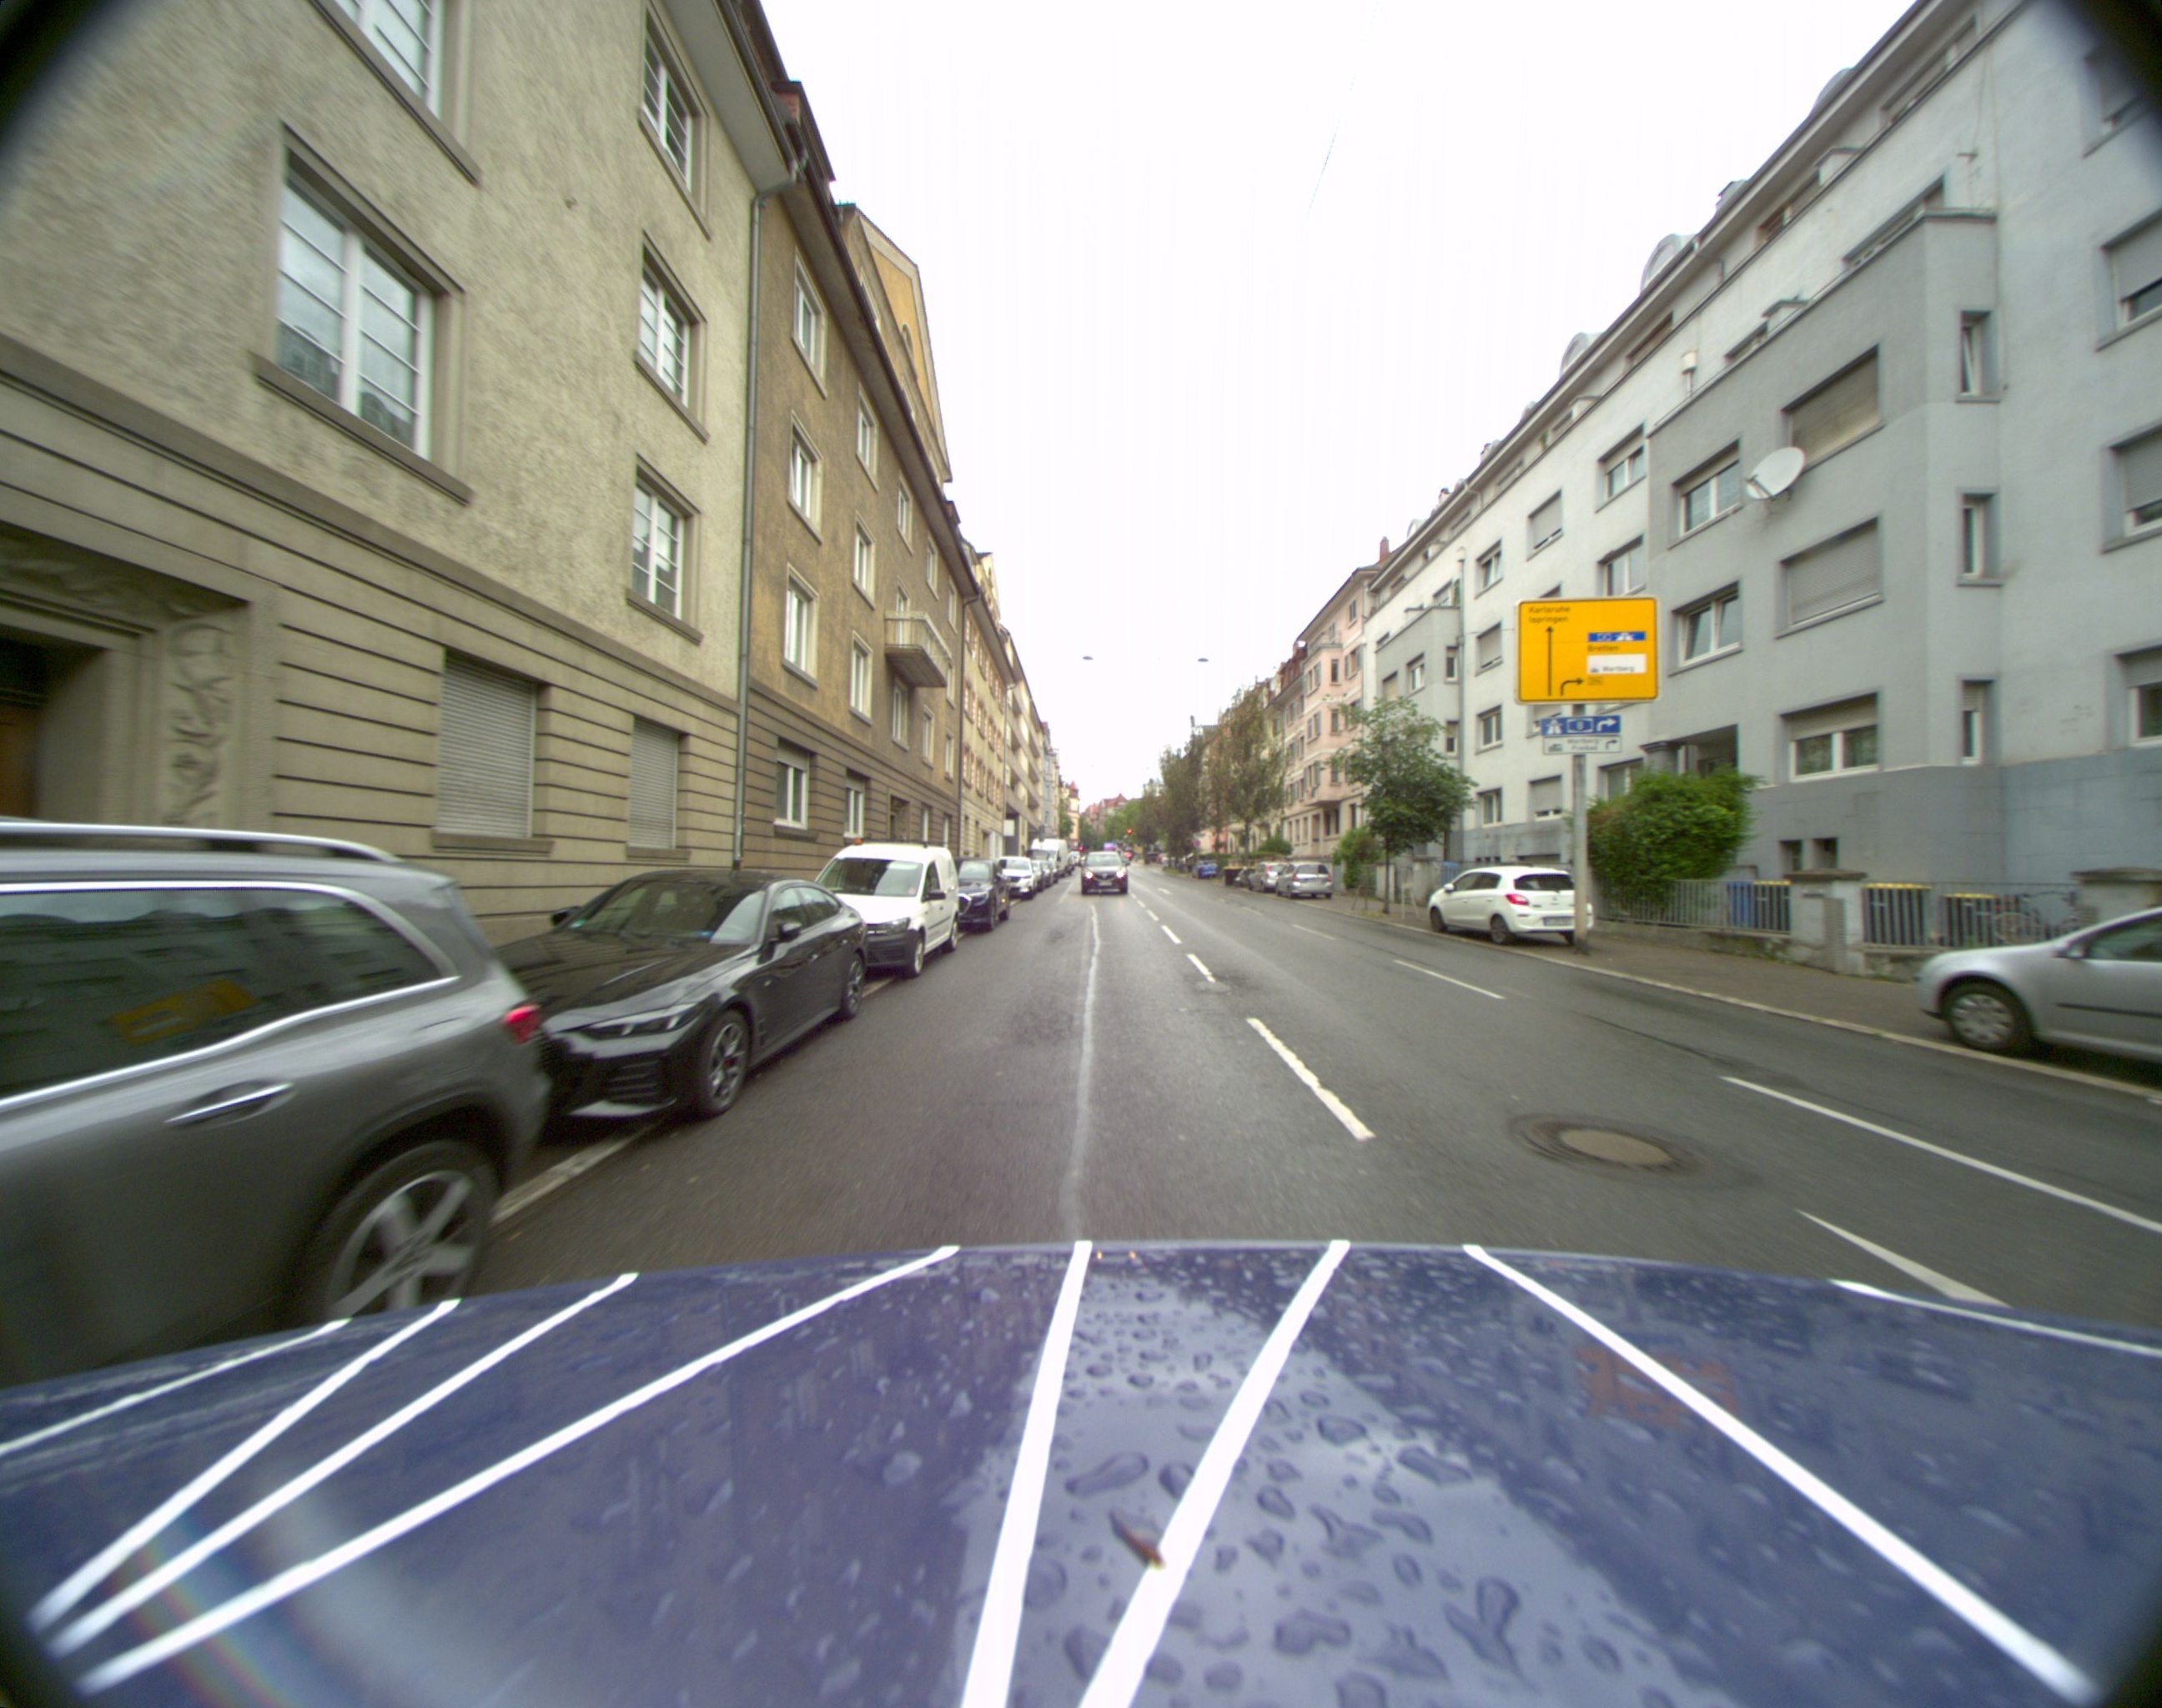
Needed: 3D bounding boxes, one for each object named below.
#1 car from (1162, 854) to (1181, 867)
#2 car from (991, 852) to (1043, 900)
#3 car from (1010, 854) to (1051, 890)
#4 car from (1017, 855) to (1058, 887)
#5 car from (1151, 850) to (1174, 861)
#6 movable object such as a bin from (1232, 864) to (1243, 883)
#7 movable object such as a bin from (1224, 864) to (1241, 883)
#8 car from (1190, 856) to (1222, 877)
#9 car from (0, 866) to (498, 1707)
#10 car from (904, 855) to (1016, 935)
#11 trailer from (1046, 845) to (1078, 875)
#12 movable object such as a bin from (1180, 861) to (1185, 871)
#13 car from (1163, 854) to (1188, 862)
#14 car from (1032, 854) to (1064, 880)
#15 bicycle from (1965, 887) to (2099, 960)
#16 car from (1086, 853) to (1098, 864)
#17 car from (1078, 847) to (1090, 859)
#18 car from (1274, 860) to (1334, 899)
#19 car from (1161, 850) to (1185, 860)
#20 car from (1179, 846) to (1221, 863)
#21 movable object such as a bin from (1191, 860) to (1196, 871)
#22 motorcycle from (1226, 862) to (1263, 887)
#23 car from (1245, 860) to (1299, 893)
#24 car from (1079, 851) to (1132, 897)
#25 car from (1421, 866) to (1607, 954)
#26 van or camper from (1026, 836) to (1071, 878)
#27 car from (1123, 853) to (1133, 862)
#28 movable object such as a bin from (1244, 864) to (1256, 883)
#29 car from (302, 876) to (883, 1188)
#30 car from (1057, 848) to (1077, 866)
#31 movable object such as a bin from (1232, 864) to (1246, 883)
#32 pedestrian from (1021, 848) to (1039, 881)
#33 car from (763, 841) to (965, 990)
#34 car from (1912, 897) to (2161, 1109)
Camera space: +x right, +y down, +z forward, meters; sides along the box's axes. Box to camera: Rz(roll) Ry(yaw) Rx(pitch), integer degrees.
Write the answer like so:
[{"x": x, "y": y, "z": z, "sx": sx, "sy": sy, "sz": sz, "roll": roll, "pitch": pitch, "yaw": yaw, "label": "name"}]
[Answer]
[{"x": 10.187, "y": 0.692, "z": 85.663, "sx": 1.685, "sy": 1.409, "sz": 4.137, "roll": 1, "pitch": 1, "yaw": 1, "label": "car"}, {"x": -2.434, "y": 0.796, "z": 29.687, "sx": 1.636, "sy": 1.629, "sz": 4.194, "roll": 3, "pitch": 1, "yaw": -1, "label": "car"}, {"x": -2.309, "y": 0.803, "z": 35.395, "sx": 1.636, "sy": 1.470, "sz": 3.734, "roll": 3, "pitch": 1, "yaw": -1, "label": "car"}, {"x": -2.218, "y": 0.821, "z": 39.705, "sx": 1.782, "sy": 1.471, "sz": 4.587, "roll": 0, "pitch": 1, "yaw": 1, "label": "car"}, {"x": 14.550, "y": 0.282, "z": 135.561, "sx": 3.929, "sy": 1.836, "sz": 1.867, "roll": 1, "pitch": 1, "yaw": -1, "label": "car"}, {"x": 8.897, "y": 1.090, "z": 43.207, "sx": 0.472, "sy": 1.052, "sz": 0.483, "roll": -3, "pitch": 2, "yaw": -8, "label": "movable object such as a bin"}, {"x": 8.724, "y": 1.131, "z": 43.772, "sx": 0.827, "sy": 1.052, "sz": 0.483, "roll": -3, "pitch": 2, "yaw": 2, "label": "movable object such as a bin"}, {"x": 9.365, "y": 0.921, "z": 57.171, "sx": 1.683, "sy": 1.378, "sz": 4.602, "roll": 0, "pitch": 1, "yaw": 1, "label": "car"}, {"x": -3.026, "y": 0.893, "z": 0.635, "sx": 1.845, "sy": 1.611, "sz": 4.207, "roll": 1, "pitch": 1, "yaw": 0, "label": "car"}, {"x": -2.640, "y": 0.837, "z": 17.554, "sx": 1.795, "sy": 1.539, "sz": 4.226, "roll": 1, "pitch": 0, "yaw": 1, "label": "car"}, {"x": -1.472, "y": 0.469, "z": 59.939, "sx": 1.998, "sy": 2.139, "sz": 5.074, "roll": 2, "pitch": 0, "yaw": 4, "label": "trailer"}, {"x": 9.358, "y": 1.080, "z": 69.992, "sx": 0.365, "sy": 0.884, "sz": 0.572, "roll": -2, "pitch": 1, "yaw": 0, "label": "movable object such as a bin"}, {"x": 15.238, "y": 0.650, "z": 122.627, "sx": 3.928, "sy": 1.289, "sz": 1.646, "roll": 1, "pitch": 1, "yaw": 2, "label": "car"}, {"x": -1.965, "y": 0.738, "z": 45.416, "sx": 1.782, "sy": 1.470, "sz": 4.188, "roll": 1, "pitch": 0, "yaw": -2, "label": "car"}, {"x": 14.688, "y": 1.068, "z": 11.758, "sx": 1.424, "sy": 1.083, "sz": 0.484, "roll": 0, "pitch": 1, "yaw": 1, "label": "bicycle"}, {"x": 1.515, "y": 0.604, "z": 104.968, "sx": 1.669, "sy": 1.464, "sz": 3.652, "roll": -1, "pitch": 1, "yaw": 0, "label": "car"}, {"x": 0.452, "y": -0.201, "z": 122.778, "sx": 1.826, "sy": 1.808, "sz": 4.520, "roll": 1, "pitch": 1, "yaw": 1, "label": "car"}, {"x": 9.140, "y": 0.996, "z": 31.436, "sx": 1.604, "sy": 1.443, "sz": 3.889, "roll": -2, "pitch": 0, "yaw": 5, "label": "car"}, {"x": 15.986, "y": 0.175, "z": 132.412, "sx": 3.928, "sy": 1.613, "sz": 1.592, "roll": 1, "pitch": 1, "yaw": 2, "label": "car"}, {"x": 14.260, "y": 0.038, "z": 91.511, "sx": 4.731, "sy": 1.894, "sz": 1.918, "roll": -1, "pitch": 2, "yaw": -1, "label": "car"}, {"x": 10.332, "y": 1.057, "z": 69.970, "sx": 0.365, "sy": 0.906, "sz": 0.572, "roll": -2, "pitch": 2, "yaw": 0, "label": "movable object such as a bin"}, {"x": 8.812, "y": 1.102, "z": 40.923, "sx": 1.806, "sy": 1.307, "sz": 0.743, "roll": 1, "pitch": 1, "yaw": 42, "label": "motorcycle"}, {"x": 9.056, "y": 1.017, "z": 36.304, "sx": 1.605, "sy": 1.388, "sz": 3.886, "roll": 0, "pitch": 1, "yaw": 0, "label": "car"}, {"x": 0.916, "y": 0.738, "z": 30.406, "sx": 1.889, "sy": 1.543, "sz": 3.999, "roll": -3, "pitch": 1, "yaw": -1, "label": "car"}, {"x": 8.667, "y": 1.037, "z": 15.610, "sx": 1.650, "sy": 1.499, "sz": 3.796, "roll": 0, "pitch": 0, "yaw": -1, "label": "car"}, {"x": -2.153, "y": 0.190, "z": 53.038, "sx": 2.189, "sy": 2.684, "sz": 6.422, "roll": 1, "pitch": 0, "yaw": 6, "label": "van or camper"}, {"x": 8.993, "y": 0.604, "z": 145.925, "sx": 1.772, "sy": 1.540, "sz": 3.652, "roll": -1, "pitch": 1, "yaw": 1, "label": "car"}, {"x": 9.478, "y": 1.088, "z": 42.619, "sx": 0.472, "sy": 1.052, "sz": 0.483, "roll": -3, "pitch": 2, "yaw": -8, "label": "movable object such as a bin"}, {"x": -3.109, "y": 0.994, "z": 6.137, "sx": 1.845, "sy": 1.401, "sz": 4.387, "roll": 2, "pitch": 0, "yaw": 0, "label": "car"}, {"x": -1.551, "y": 0.301, "z": 84.181, "sx": 1.994, "sy": 1.944, "sz": 4.822, "roll": 1, "pitch": 1, "yaw": 1, "label": "car"}, {"x": 8.867, "y": 1.091, "z": 42.569, "sx": 0.526, "sy": 1.052, "sz": 0.482, "roll": -3, "pitch": 2, "yaw": -21, "label": "movable object such as a bin"}, {"x": -2.860, "y": 0.598, "z": 42.522, "sx": 0.688, "sy": 1.777, "sz": 0.711, "roll": 1, "pitch": 2, "yaw": -33, "label": "pedestrian"}, {"x": -3.001, "y": 0.753, "z": 11.442, "sx": 1.795, "sy": 1.807, "sz": 4.080, "roll": 1, "pitch": 0, "yaw": 1, "label": "car"}, {"x": 8.521, "y": 1.109, "z": 5.090, "sx": 1.687, "sy": 1.382, "sz": 3.909, "roll": -1, "pitch": 0, "yaw": 1, "label": "car"}]
